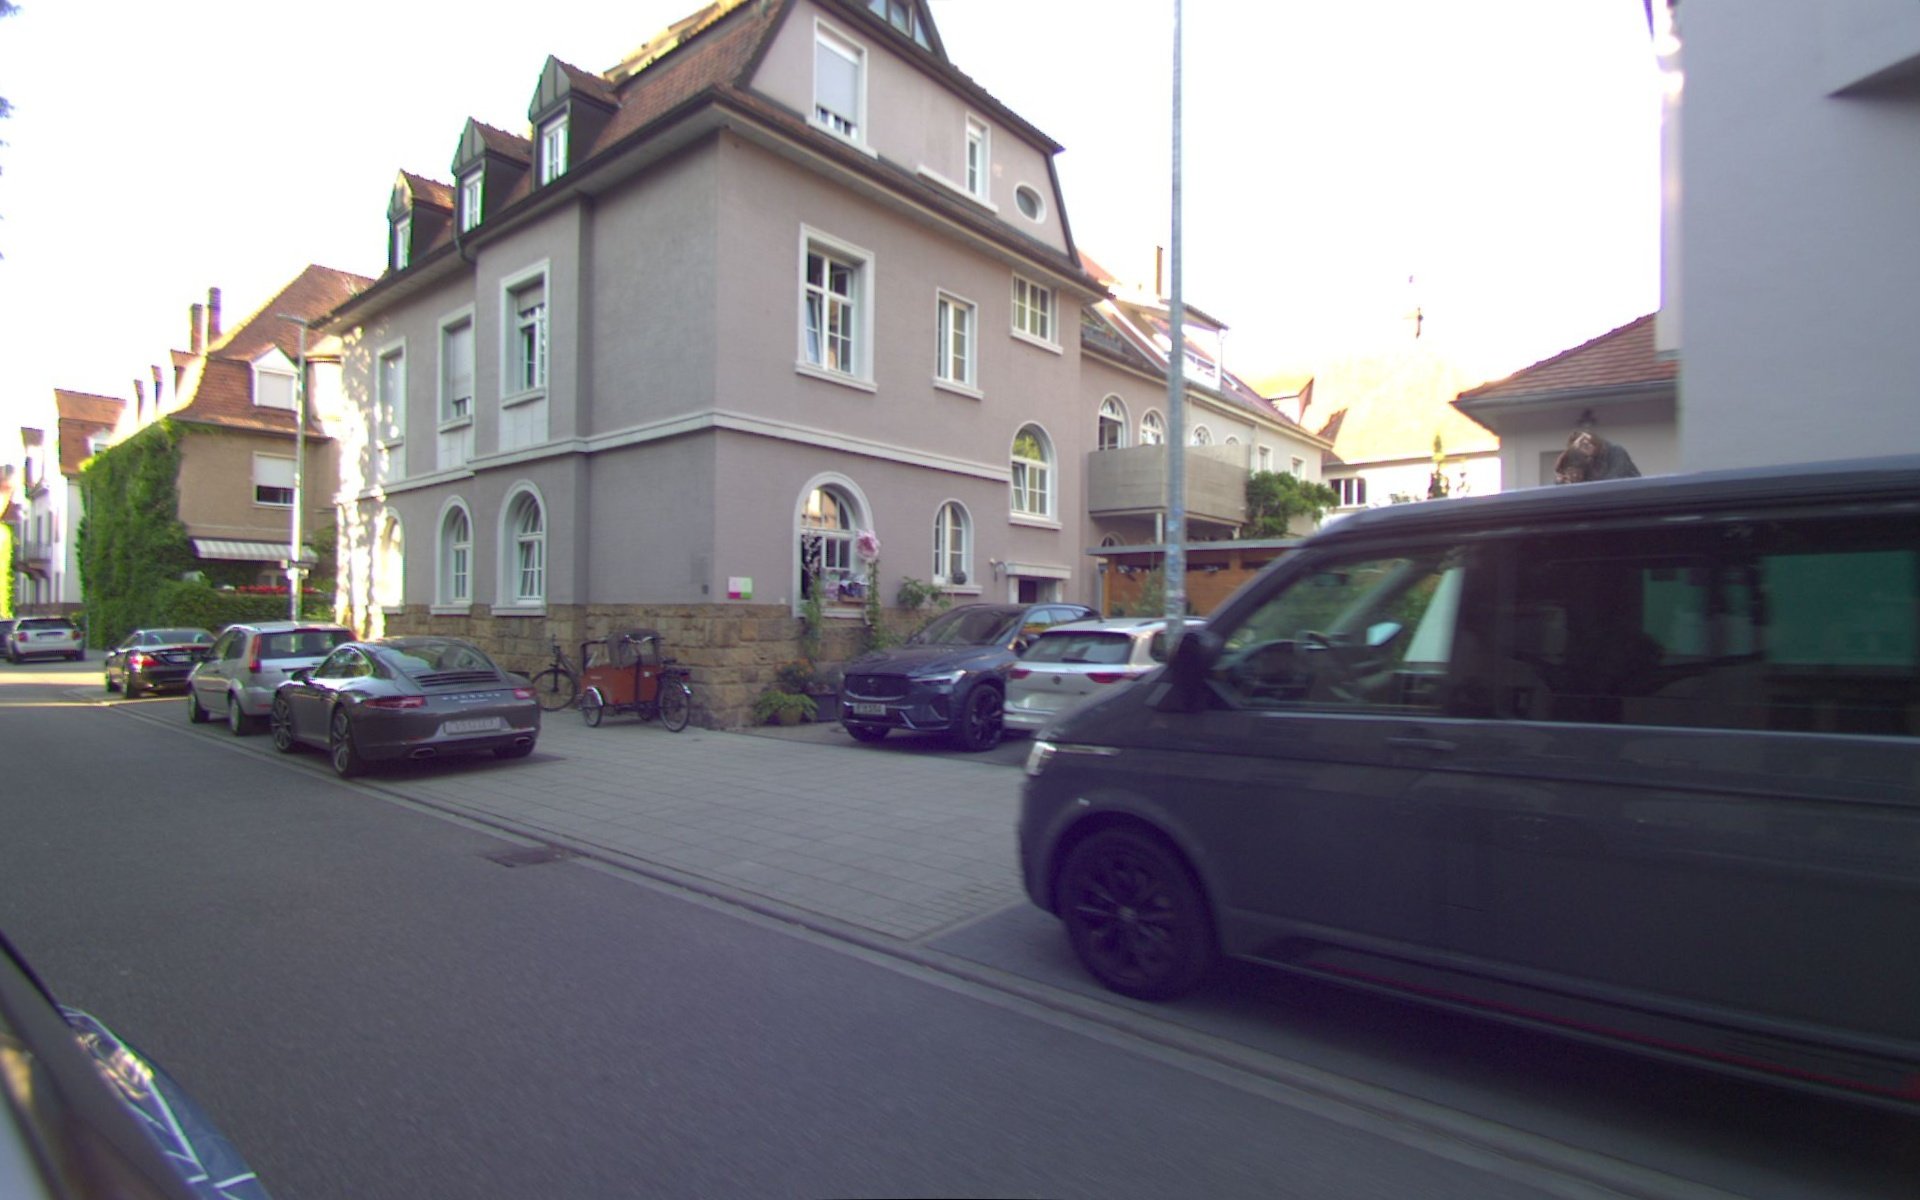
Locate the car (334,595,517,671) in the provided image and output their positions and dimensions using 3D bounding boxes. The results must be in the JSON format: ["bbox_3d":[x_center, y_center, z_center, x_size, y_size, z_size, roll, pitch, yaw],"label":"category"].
[{"bbox_3d":[-15.804,0.925,30.118,1.998,2.029,4.358,2,1,39],"label":"car"}]

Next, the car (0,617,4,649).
[{"bbox_3d":[-46.681,1.568,47.693,4.772,1.472,1.775,-1,0,39],"label":"car"}]

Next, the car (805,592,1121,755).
[{"bbox_3d":[0.182,0.752,12.237,1.895,1.634,3.827,-1,-1,37],"label":"car"}]

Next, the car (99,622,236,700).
[{"bbox_3d":[-16.079,1.157,20.466,4.046,1.333,1.635,0,1,44],"label":"car"}]

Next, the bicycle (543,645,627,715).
[{"bbox_3d":[-5.530,1.148,14.877,1.721,0.944,0.389,-1,-1,42],"label":"bicycle"}]

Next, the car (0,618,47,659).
[{"bbox_3d":[-34.472,1.373,36.690,3.720,1.390,1.668,-1,0,42],"label":"car"}]

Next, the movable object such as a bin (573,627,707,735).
[{"bbox_3d":[-4.218,1.010,13.250,2.095,1.293,0.714,-1,-1,42],"label":"movable object such as a bin"}]

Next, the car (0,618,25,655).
[{"bbox_3d":[-38.888,1.449,40.600,4.097,1.431,1.632,-1,0,42],"label":"car"}]

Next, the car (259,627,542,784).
[{"bbox_3d":[-6.175,0.982,10.931,4.228,1.329,1.514,-1,0,44],"label":"car"}]

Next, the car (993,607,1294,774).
[{"bbox_3d":[2.132,0.823,10.949,1.632,1.454,3.827,-1,-1,37],"label":"car"}]

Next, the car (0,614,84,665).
[{"bbox_3d":[-29.280,1.213,32.229,3.917,1.471,1.685,-1,0,43],"label":"car"}]

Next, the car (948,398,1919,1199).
[{"bbox_3d":[2.425,0.485,3.668,4.848,1.962,1.962,-1,0,41],"label":"car"}]

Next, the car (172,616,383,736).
[{"bbox_3d":[-9.898,0.982,14.565,3.959,1.456,1.636,-1,0,42],"label":"car"}]
